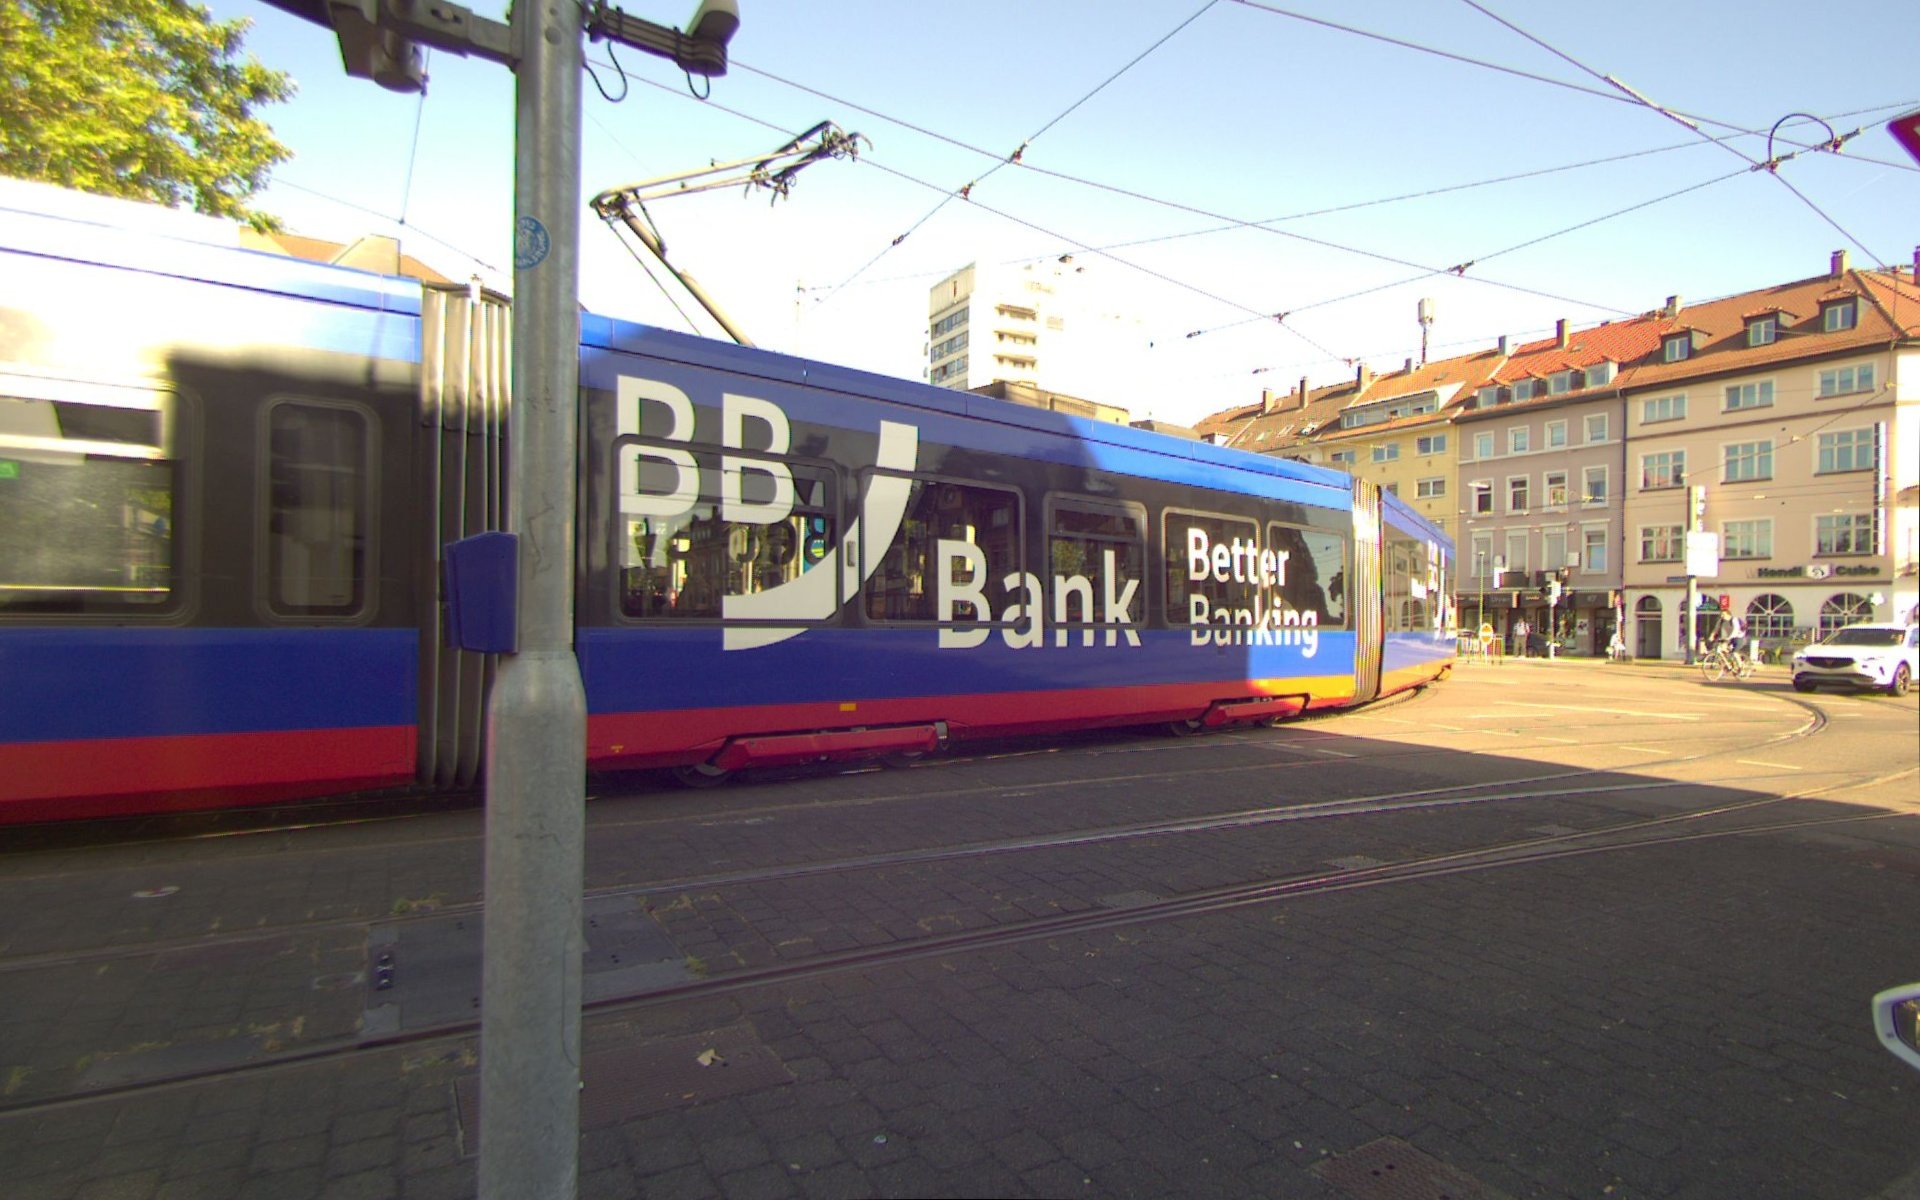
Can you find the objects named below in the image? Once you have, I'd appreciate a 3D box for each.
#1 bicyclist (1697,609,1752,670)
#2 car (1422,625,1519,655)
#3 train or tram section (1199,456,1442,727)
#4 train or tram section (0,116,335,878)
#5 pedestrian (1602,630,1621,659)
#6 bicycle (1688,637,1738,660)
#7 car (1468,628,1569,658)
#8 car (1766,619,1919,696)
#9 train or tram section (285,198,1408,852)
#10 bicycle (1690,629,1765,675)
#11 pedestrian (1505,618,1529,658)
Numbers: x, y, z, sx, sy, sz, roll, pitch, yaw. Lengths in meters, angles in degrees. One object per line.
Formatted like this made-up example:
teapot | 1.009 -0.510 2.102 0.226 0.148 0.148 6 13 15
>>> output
bicyclist | 20.200 1.038 26.550 0.970 1.580 0.715 1 -1 -15
car | 26.037 2.023 51.416 1.971 1.373 4.201 1 -1 -21
train or tram section | 7.626 0.017 19.651 3.008 3.661 12.101 0 -1 27
train or tram section | -9.259 -0.588 3.374 11.995 3.661 3.035 2 -1 -35
pedestrian | 34.720 2.356 53.508 0.688 1.544 0.653 1 -1 -35
bicycle | 37.702 2.407 50.304 0.578 1.081 1.929 1 -1 -36
car | 30.560 2.335 55.080 1.725 1.459 4.614 2 -1 -32
car | 19.933 1.212 22.038 4.292 1.517 1.986 1 -1 -28
train or tram section | 0.371 -0.276 10.795 12.400 3.661 3.030 2 -1 -40
bicycle | 20.283 1.372 26.534 2.023 1.181 0.485 1 -1 -16
pedestrian | 23.476 1.610 42.353 0.717 1.648 0.667 0 -1 44
